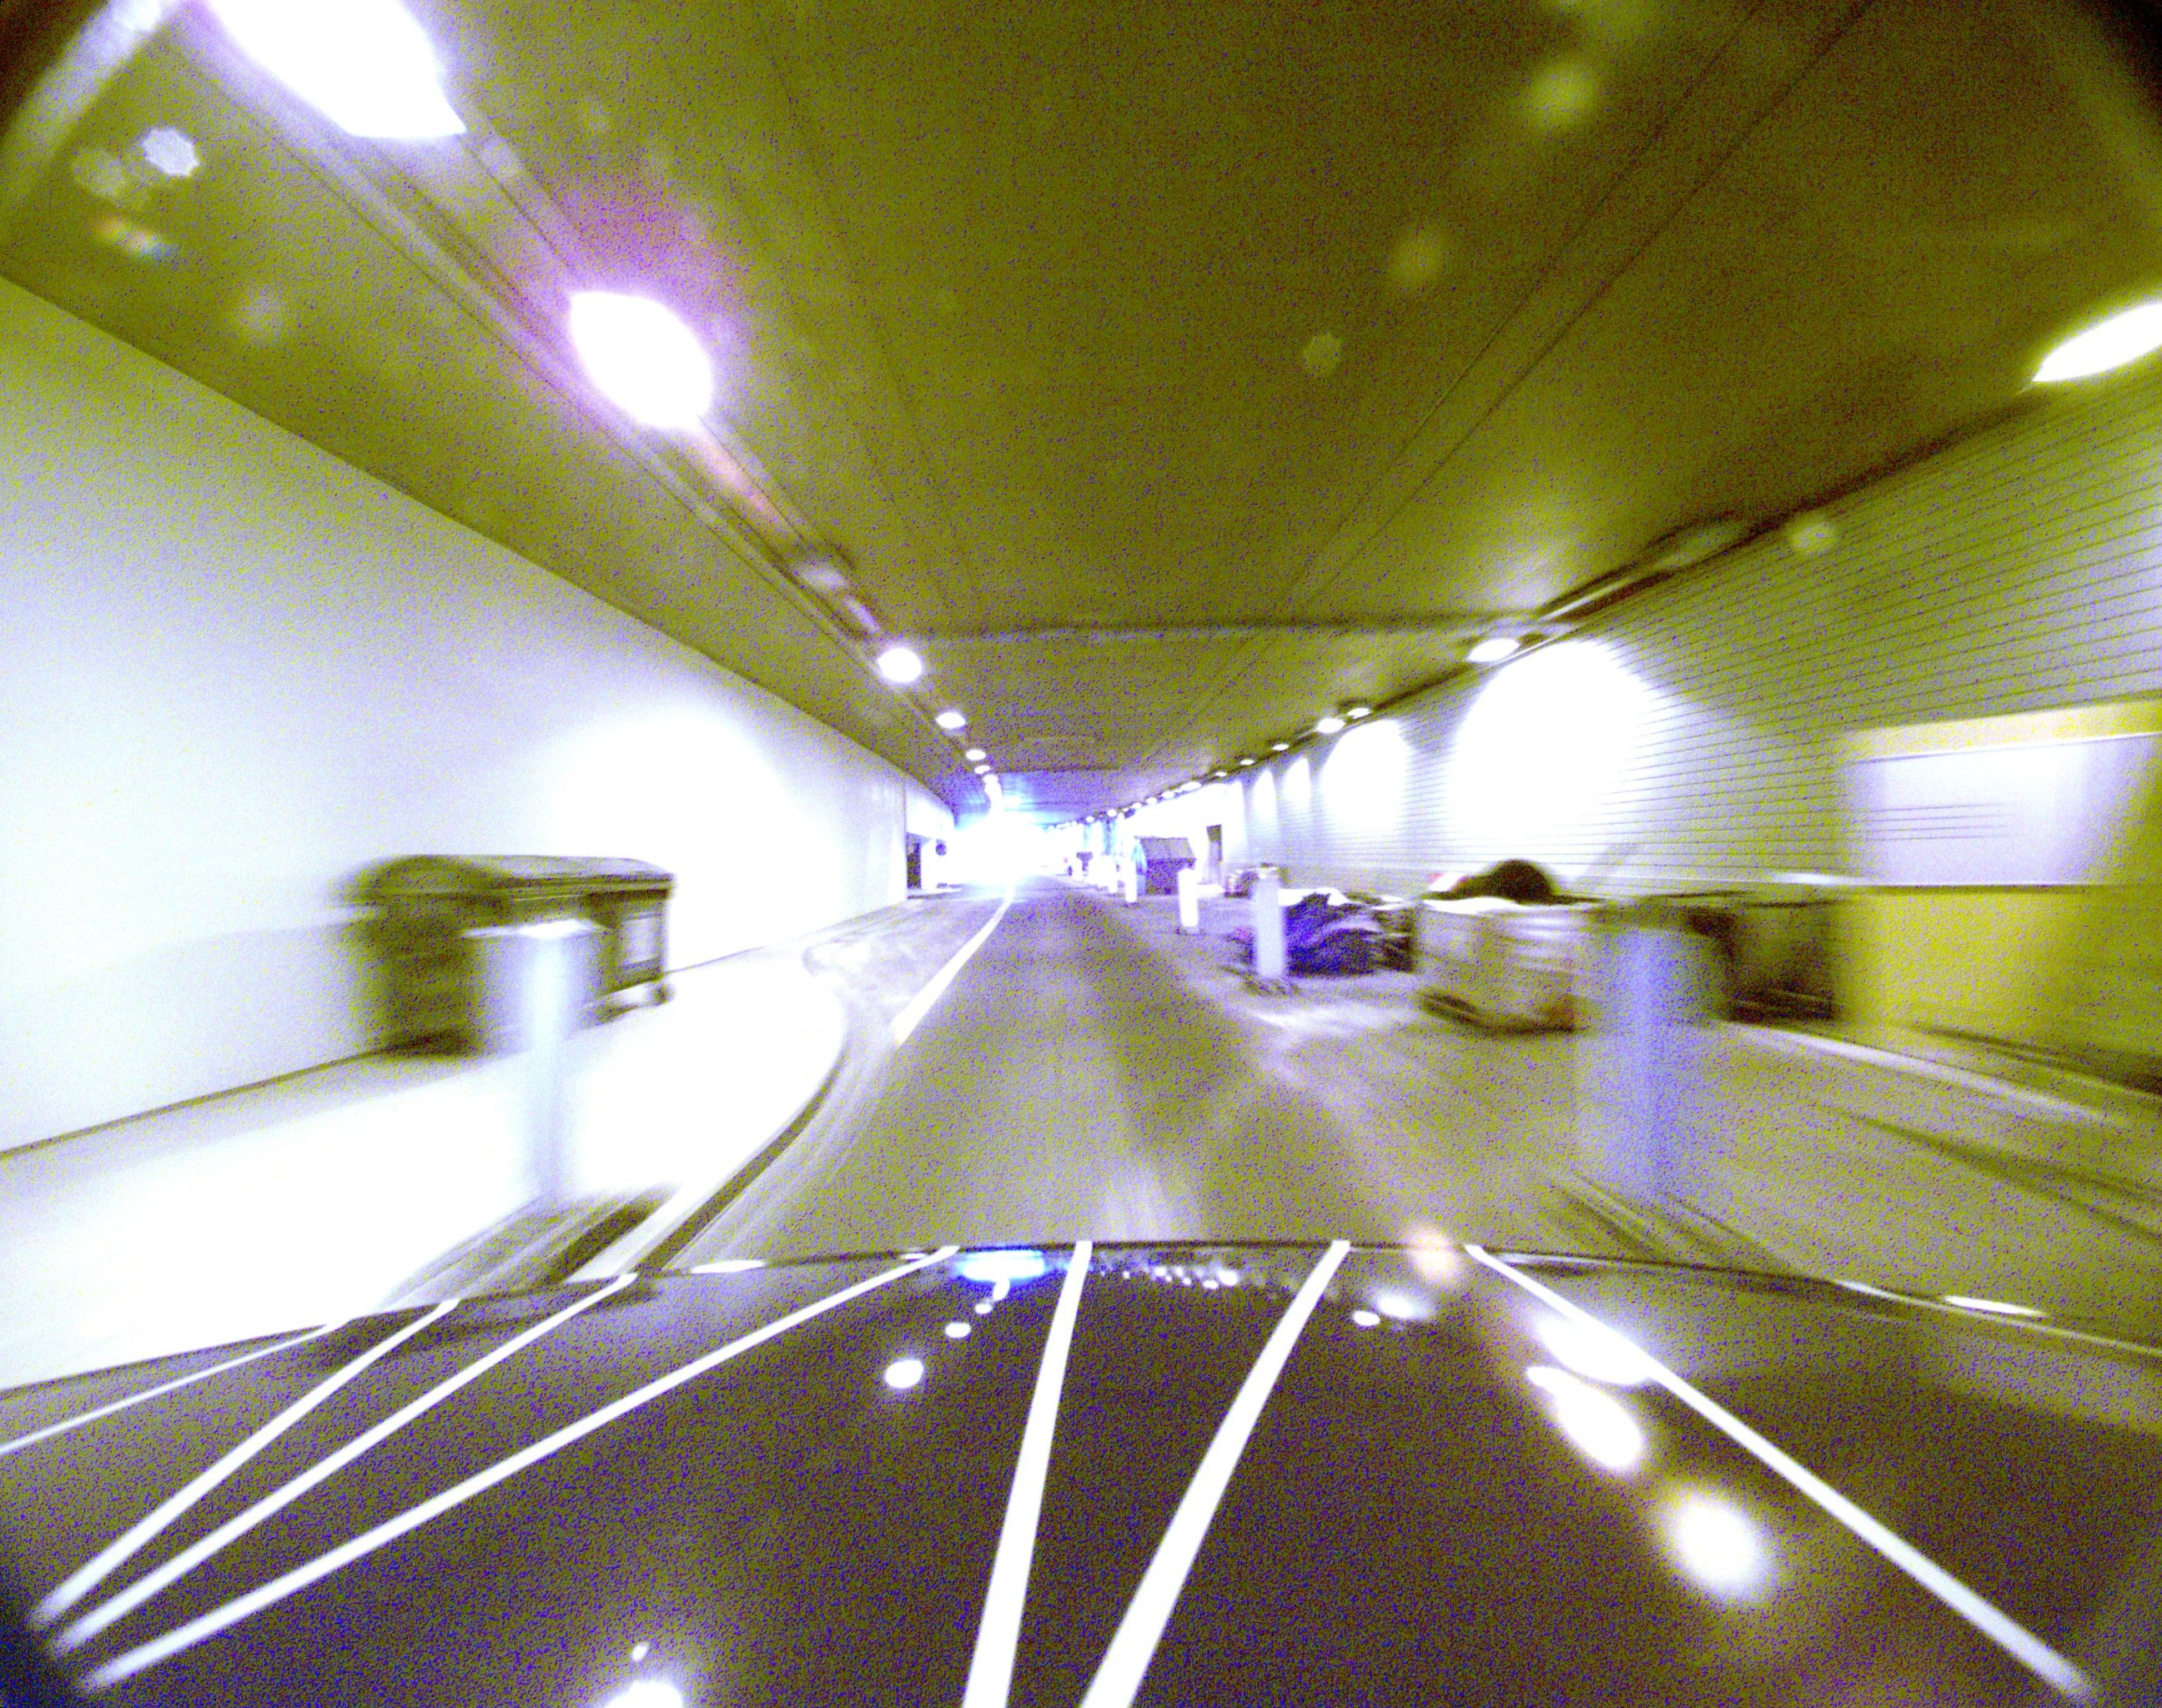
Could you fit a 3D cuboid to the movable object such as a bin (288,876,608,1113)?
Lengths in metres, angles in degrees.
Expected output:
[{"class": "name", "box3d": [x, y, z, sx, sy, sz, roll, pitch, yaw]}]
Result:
[{"class": "movable object such as a bin", "box3d": [-4.487, 0.921, 5.566, 1.148, 1.437, 1.363, -2, 1, -1]}]

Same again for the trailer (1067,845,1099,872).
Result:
[{"class": "trailer", "box3d": [0.120, 0.310, 52.689, 1.645, 1.781, 3.119, -2, 1, -10]}]

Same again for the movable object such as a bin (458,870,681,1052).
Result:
[{"class": "movable object such as a bin", "box3d": [-4.595, 0.900, 6.974, 1.100, 1.437, 1.321, -2, 1, -1]}]

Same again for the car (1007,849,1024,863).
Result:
[{"class": "car", "box3d": [-8.820, 0.280, 102.041, 2.000, 1.743, 3.996, -2, 1, -8]}]

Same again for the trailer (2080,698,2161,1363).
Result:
[{"class": "trailer", "box3d": [4.409, 0.531, 0.771, 2.214, 2.002, 3.465, -2, 1, -3]}]
